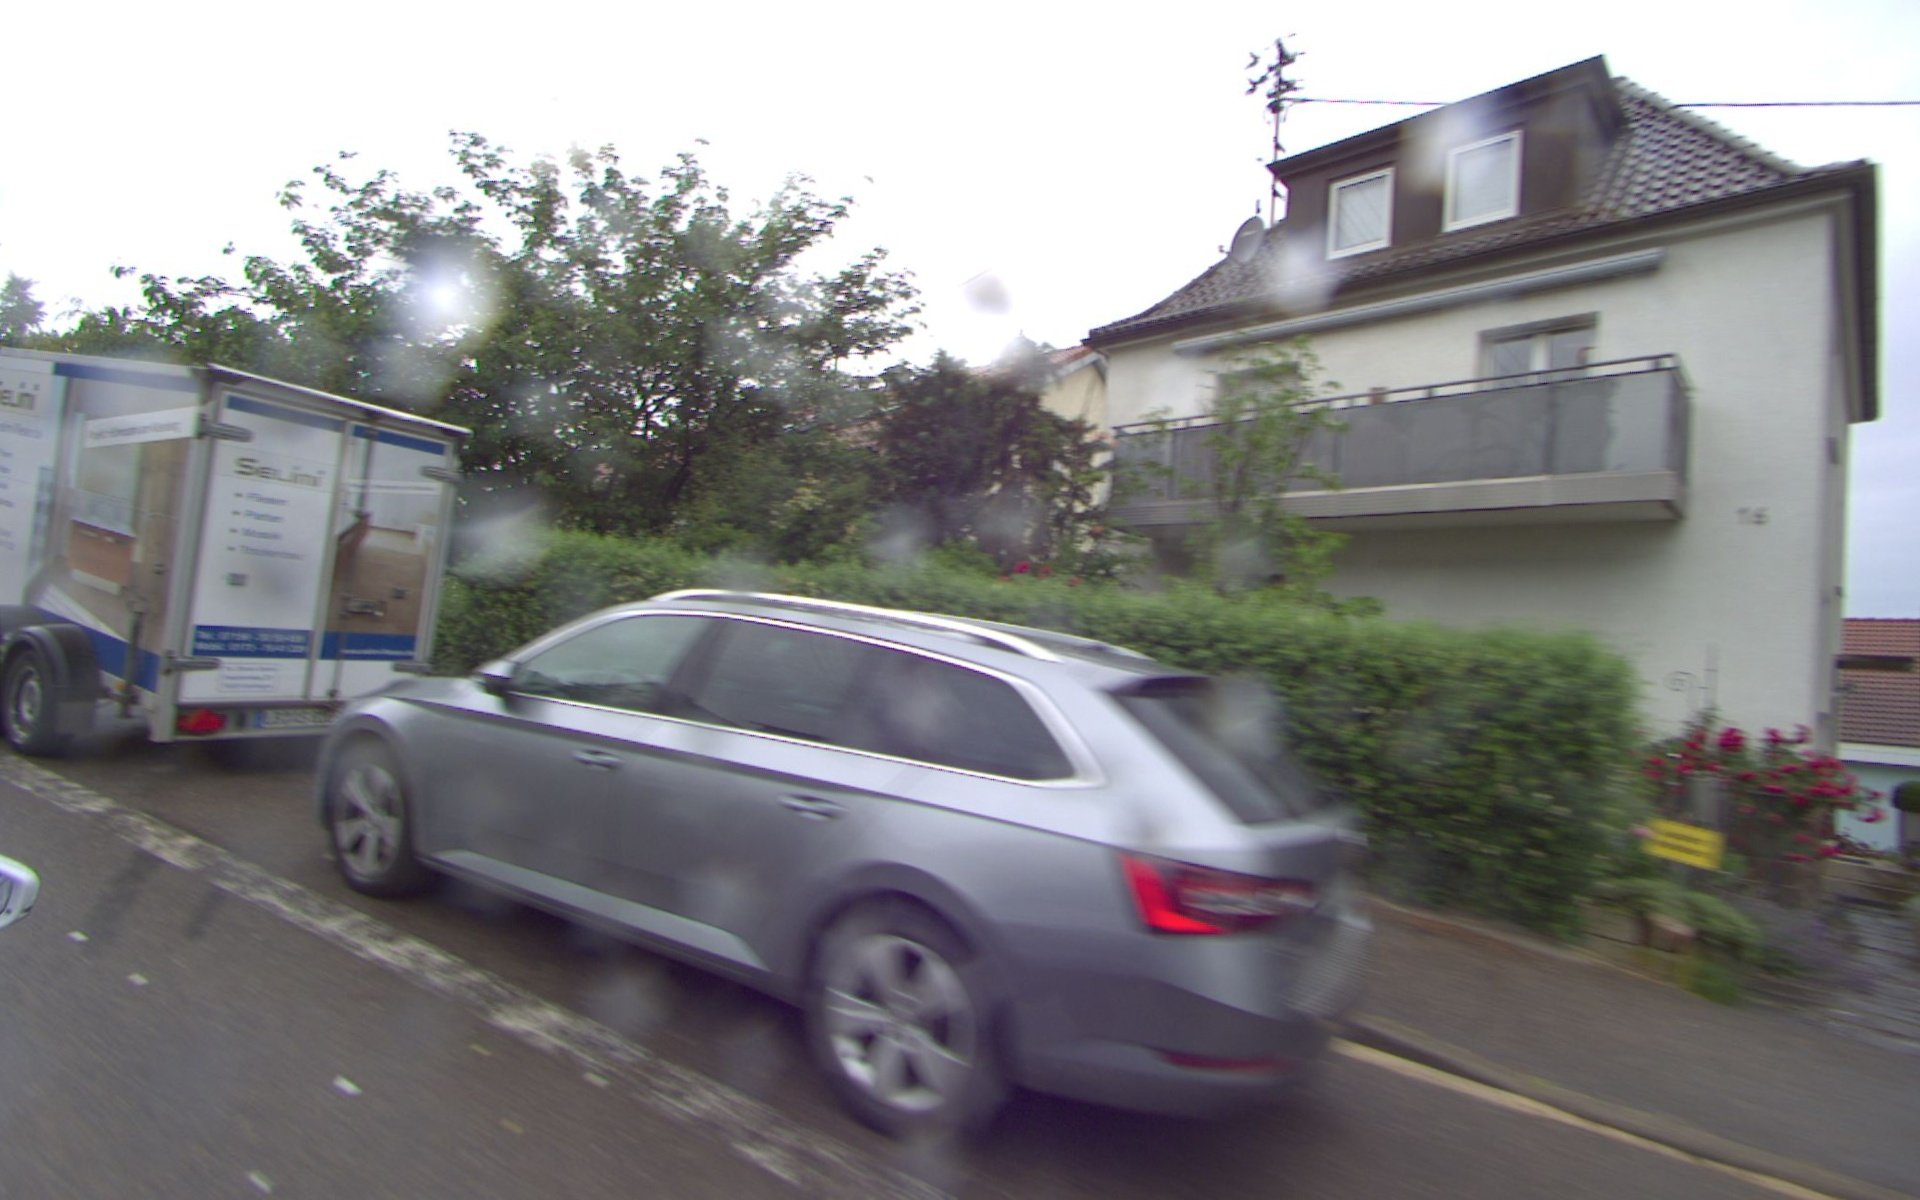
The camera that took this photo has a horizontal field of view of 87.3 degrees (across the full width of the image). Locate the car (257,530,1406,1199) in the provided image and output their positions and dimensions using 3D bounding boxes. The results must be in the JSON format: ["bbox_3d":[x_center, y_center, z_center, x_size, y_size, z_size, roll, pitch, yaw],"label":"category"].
[{"bbox_3d":[-0.804,0.683,4.249,4.626,1.441,1.750,6,-2,32],"label":"car"}]

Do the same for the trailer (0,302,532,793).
[{"bbox_3d":[-5.794,-0.425,7.228,5.342,2.485,1.953,6,-1,30],"label":"trailer"}]
